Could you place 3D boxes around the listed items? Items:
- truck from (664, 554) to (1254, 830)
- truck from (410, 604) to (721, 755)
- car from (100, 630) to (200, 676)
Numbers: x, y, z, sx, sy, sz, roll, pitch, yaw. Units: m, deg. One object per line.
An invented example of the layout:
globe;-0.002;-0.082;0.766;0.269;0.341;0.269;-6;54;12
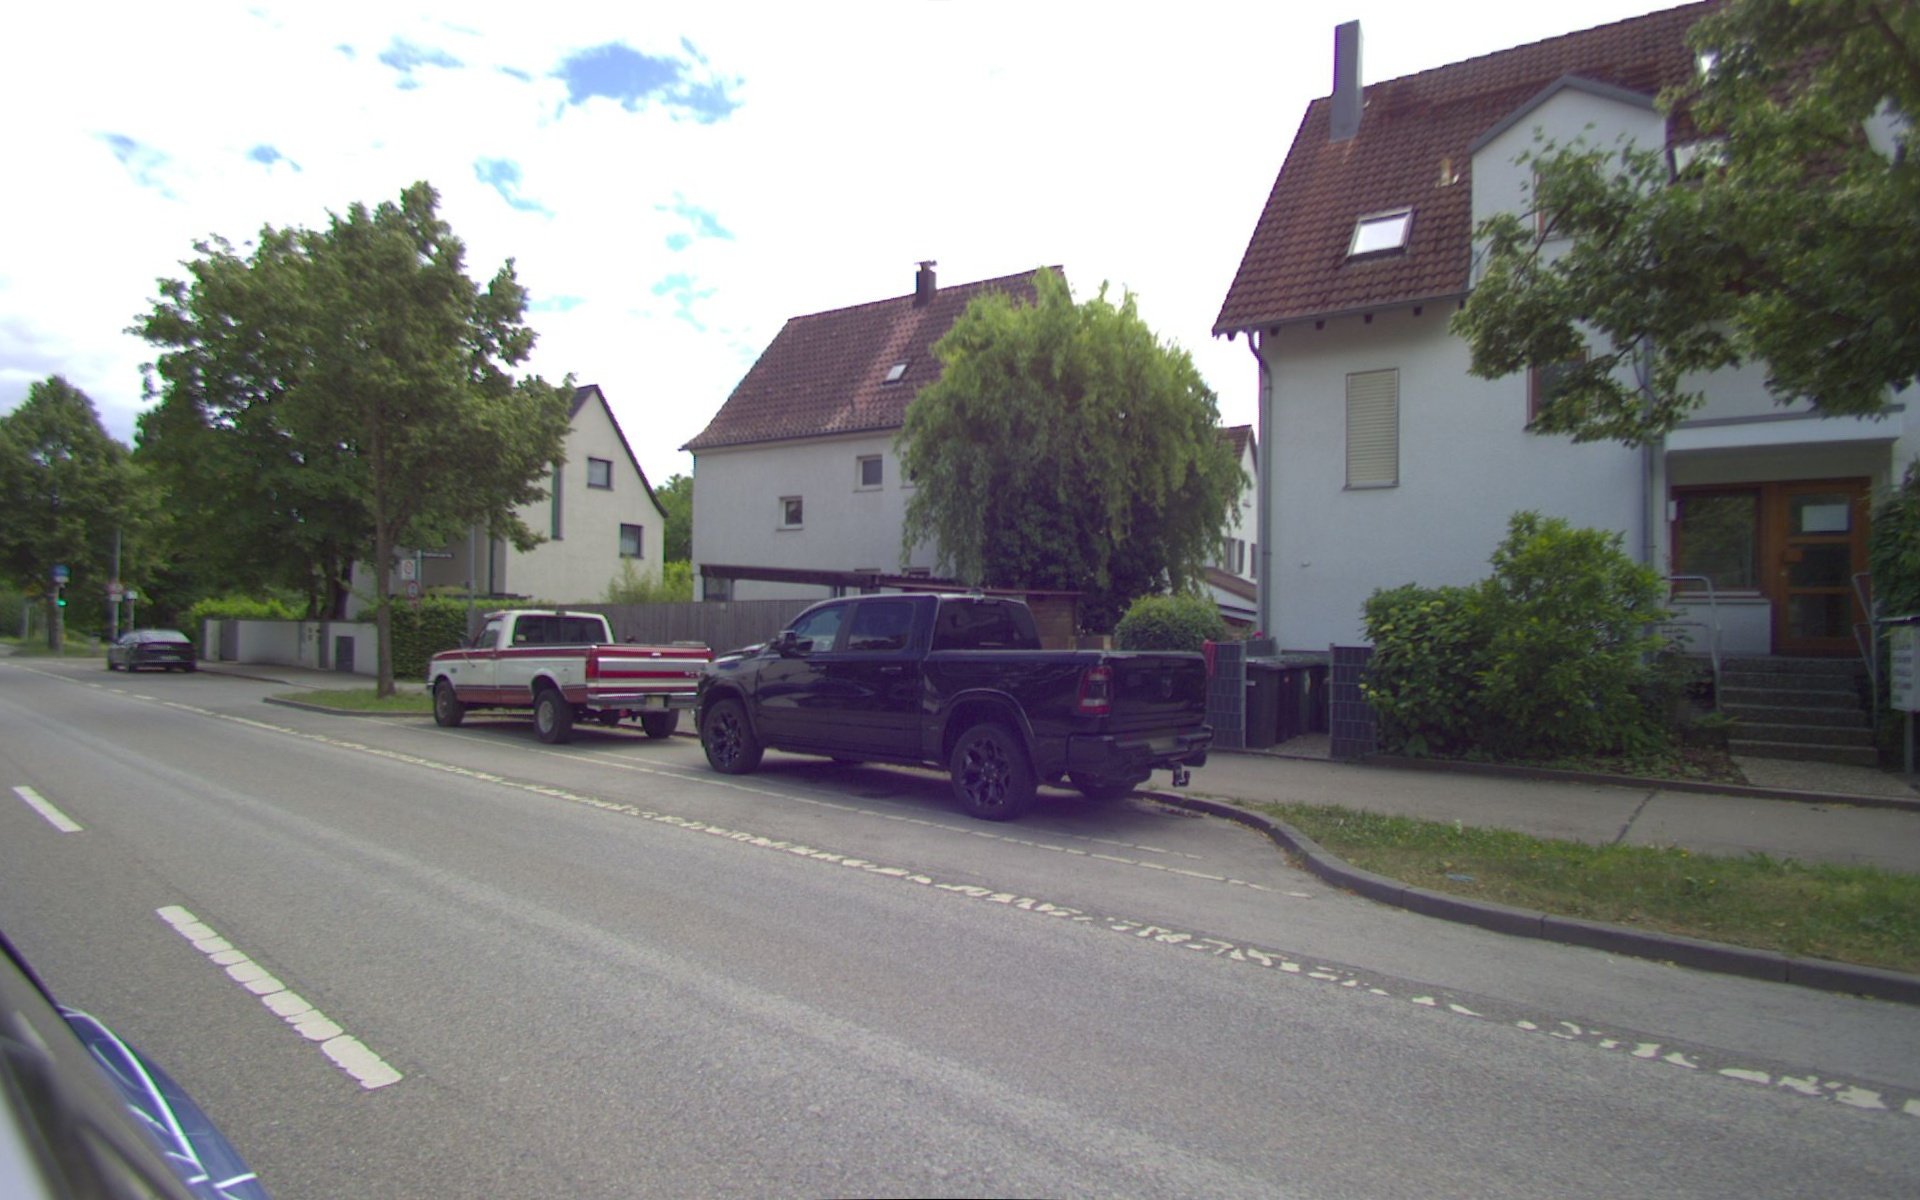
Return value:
truck;-0.309;0.770;10.434;5.991;2.059;2.398;-1;-3;41
truck;-6.104;1.089;15.231;5.662;1.882;1.946;-1;-4;42
car;-27.408;1.769;34.192;4.924;1.419;1.727;-1;-4;41
